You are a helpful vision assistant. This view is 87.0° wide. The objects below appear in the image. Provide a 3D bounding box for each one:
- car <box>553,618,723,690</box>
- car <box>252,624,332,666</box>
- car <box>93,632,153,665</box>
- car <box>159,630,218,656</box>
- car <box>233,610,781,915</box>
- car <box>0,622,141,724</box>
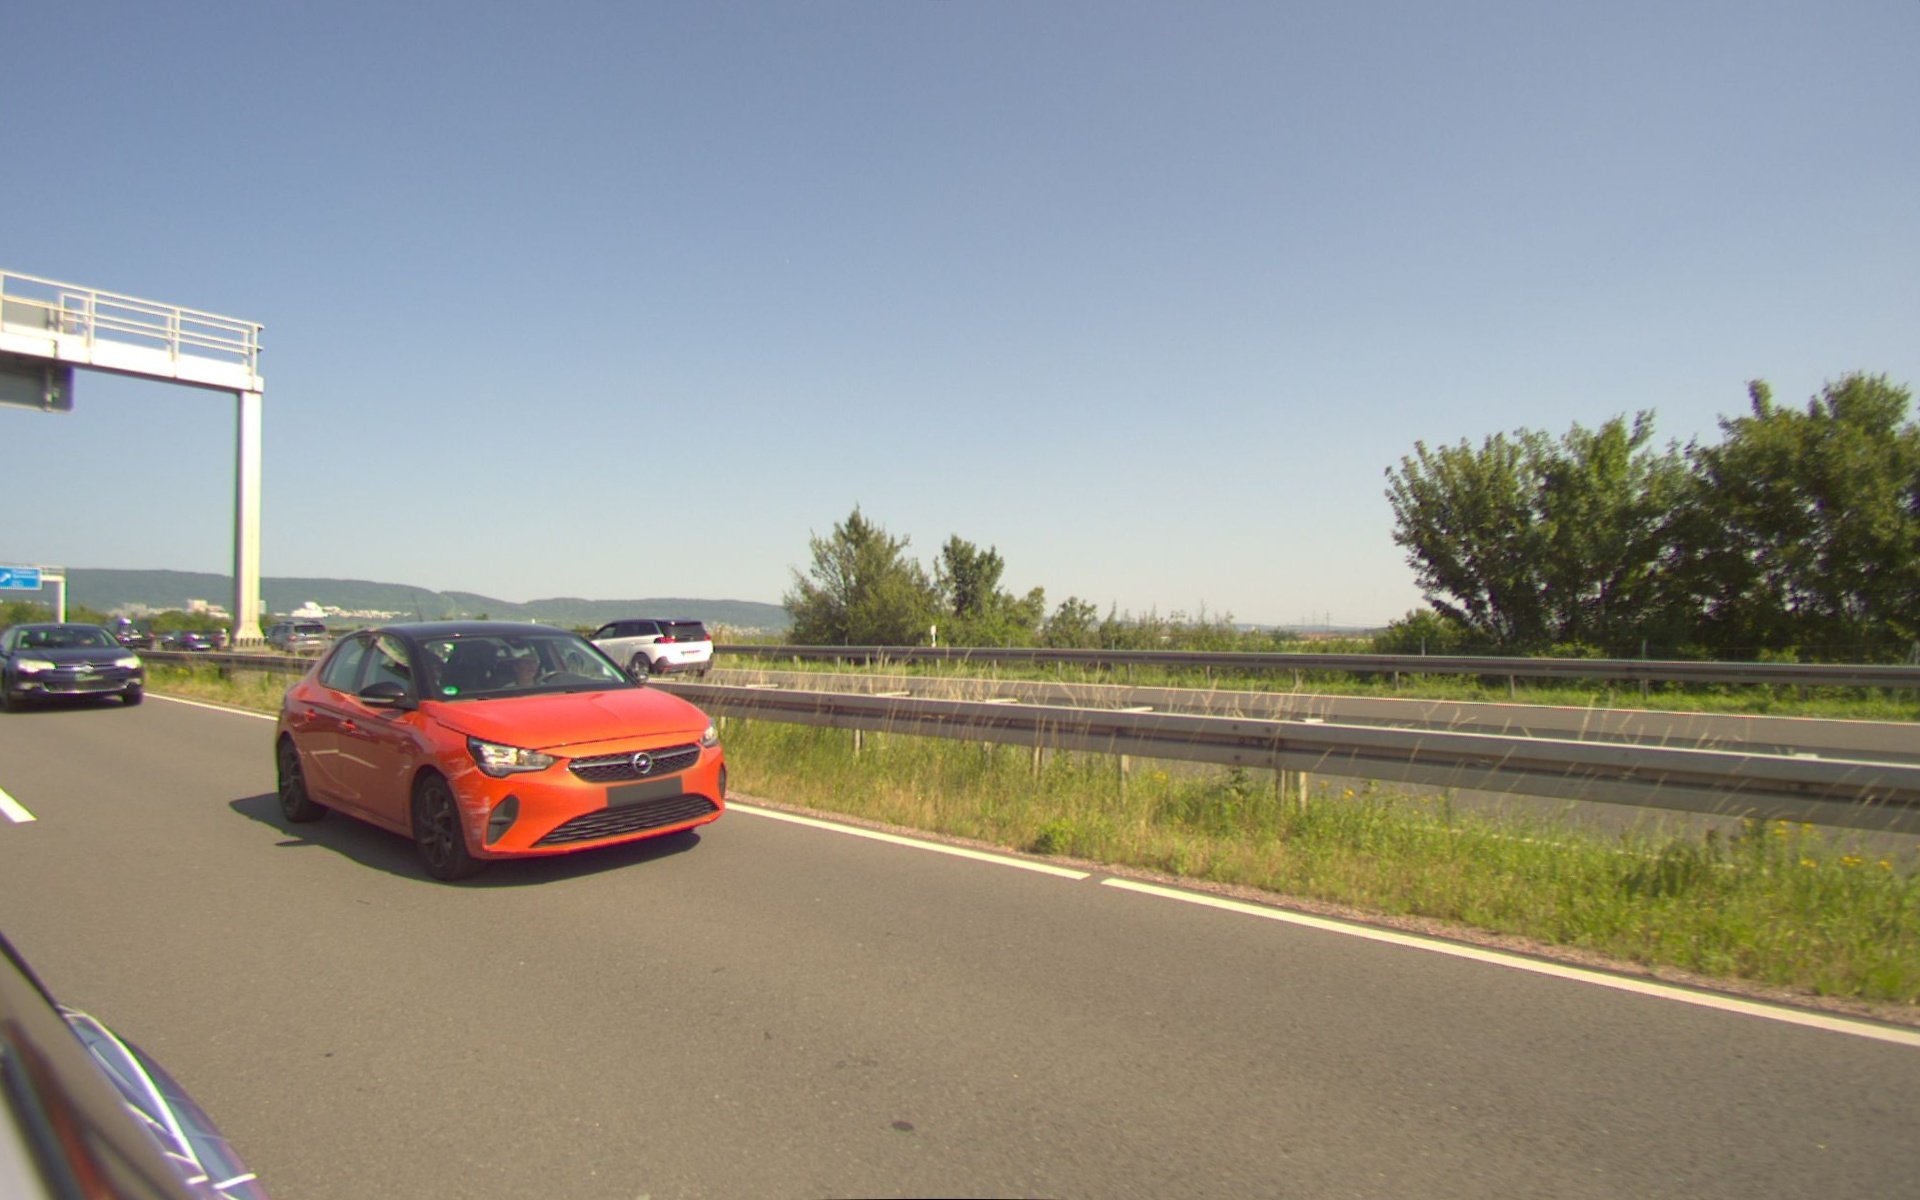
[{"bbox_3d":[-8.312,1.327,25.912,4.623,1.632,1.883,-2,-1,38],"label":"car"},{"bbox_3d":[-27.369,1.828,41.438,4.000,1.629,1.715,-2,-2,41],"label":"car"},{"bbox_3d":[-51.150,2.952,61.819,4.411,1.920,1.974,-2,-2,38],"label":"car"},{"bbox_3d":[-39.725,2.227,52.061,3.710,1.279,1.551,-2,-2,38],"label":"car"},{"bbox_3d":[-3.322,0.859,6.947,4.408,1.448,1.692,-3,-2,40],"label":"car"},{"bbox_3d":[-16.011,1.189,17.777,4.372,1.545,1.765,-2,-1,40],"label":"car"}]
